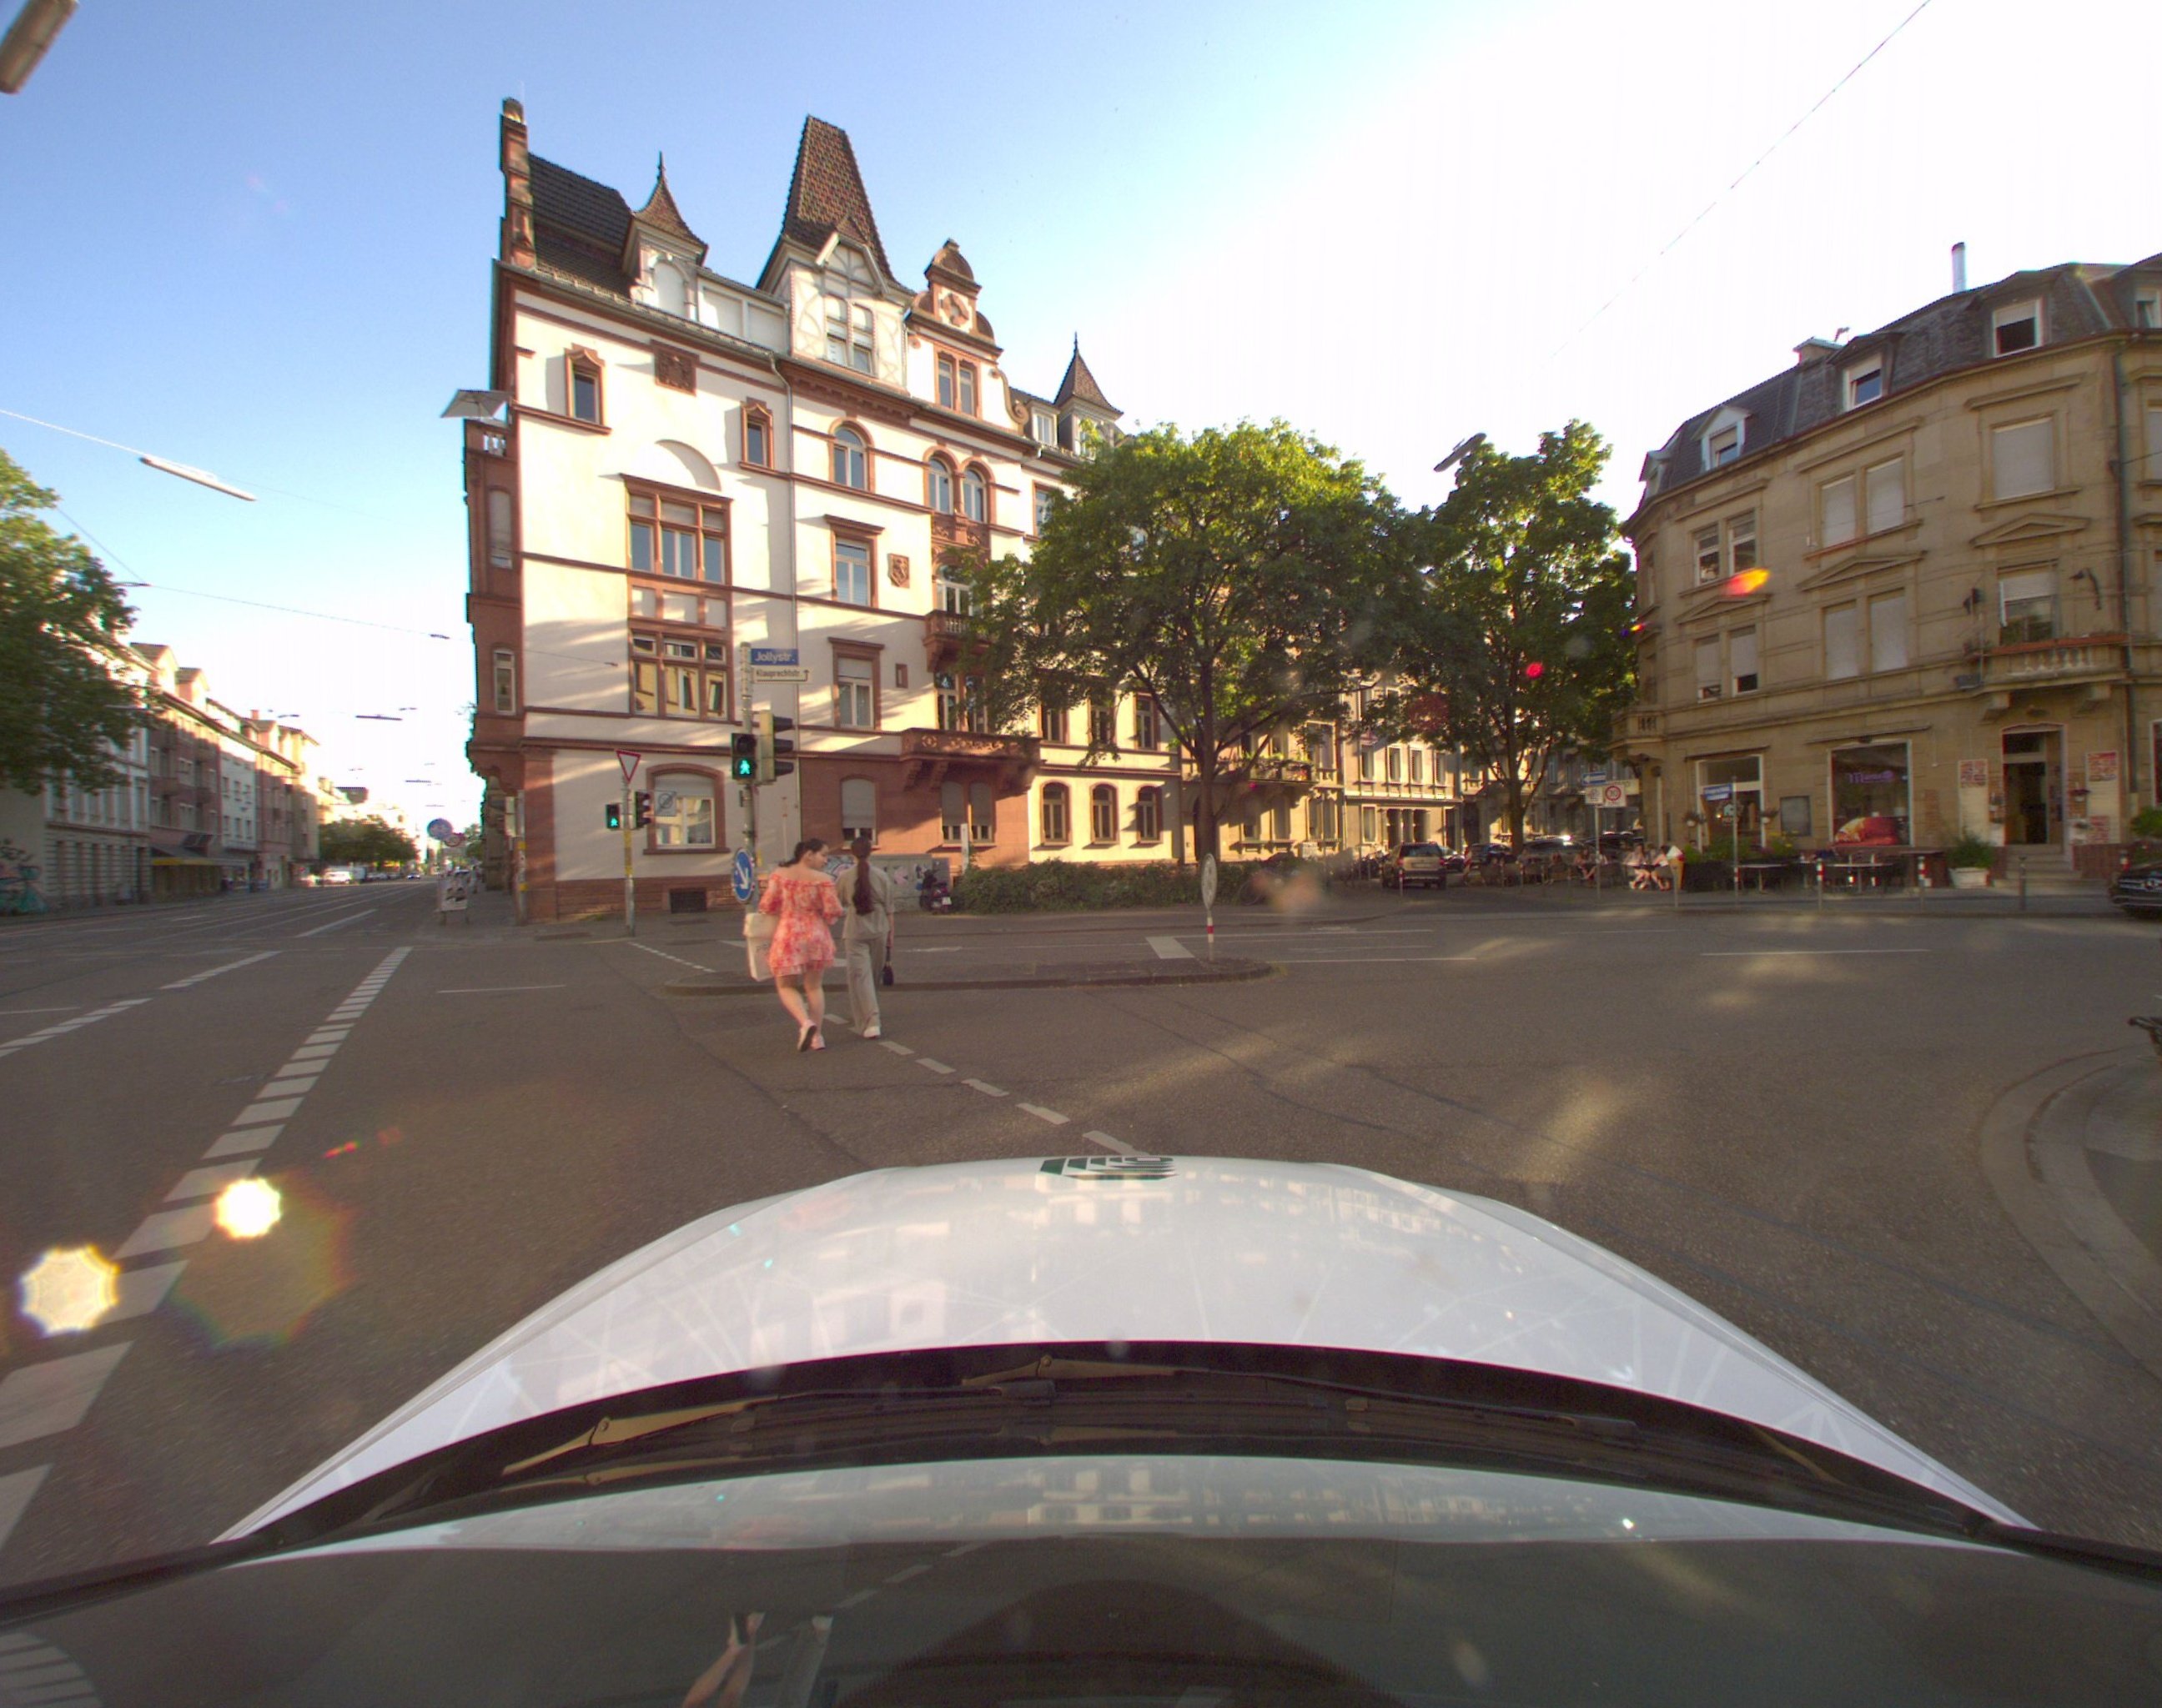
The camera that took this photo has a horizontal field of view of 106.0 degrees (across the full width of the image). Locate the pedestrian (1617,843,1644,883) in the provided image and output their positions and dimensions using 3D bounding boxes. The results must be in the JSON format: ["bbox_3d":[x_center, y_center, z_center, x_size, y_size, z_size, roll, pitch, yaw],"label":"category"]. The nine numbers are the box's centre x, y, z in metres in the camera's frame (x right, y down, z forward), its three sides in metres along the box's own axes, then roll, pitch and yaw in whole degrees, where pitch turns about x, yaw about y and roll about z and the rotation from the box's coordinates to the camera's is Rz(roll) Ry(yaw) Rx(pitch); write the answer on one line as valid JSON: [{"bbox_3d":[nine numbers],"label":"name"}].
[{"bbox_3d":[17.742,0.277,26.293,0.508,1.248,0.481,-3,0,-4],"label":"pedestrian"}]

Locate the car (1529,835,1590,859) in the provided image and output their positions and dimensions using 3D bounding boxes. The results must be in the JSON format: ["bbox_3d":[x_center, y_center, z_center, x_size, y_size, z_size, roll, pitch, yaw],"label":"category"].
[{"bbox_3d":[29.780,-0.425,50.706,3.768,1.376,1.908,-2,0,-36],"label":"car"}]

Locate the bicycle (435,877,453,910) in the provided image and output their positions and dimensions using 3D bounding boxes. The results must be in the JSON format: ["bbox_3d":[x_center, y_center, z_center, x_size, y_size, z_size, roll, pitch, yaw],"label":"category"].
[{"bbox_3d":[-24.734,1.509,31.621,0.522,1.214,1.985,-1,0,-38],"label":"bicycle"}]

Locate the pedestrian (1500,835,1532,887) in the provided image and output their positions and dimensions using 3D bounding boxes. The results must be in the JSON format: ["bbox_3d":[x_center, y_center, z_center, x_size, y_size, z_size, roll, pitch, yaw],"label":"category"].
[{"bbox_3d":[15.017,0.247,28.106,0.760,1.770,0.574,-3,-2,10],"label":"pedestrian"}]

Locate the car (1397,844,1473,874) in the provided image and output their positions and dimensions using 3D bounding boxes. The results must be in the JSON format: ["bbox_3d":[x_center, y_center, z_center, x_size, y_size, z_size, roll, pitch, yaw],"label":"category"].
[{"bbox_3d":[18.268,0.248,42.000,3.768,1.376,1.908,-2,0,-36],"label":"car"}]

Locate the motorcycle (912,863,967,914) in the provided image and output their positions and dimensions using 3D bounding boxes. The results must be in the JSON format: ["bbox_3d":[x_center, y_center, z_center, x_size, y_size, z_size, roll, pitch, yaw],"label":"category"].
[{"bbox_3d":[-3.802,0.882,21.755,0.845,1.265,2.092,-2,0,-26],"label":"motorcycle"}]

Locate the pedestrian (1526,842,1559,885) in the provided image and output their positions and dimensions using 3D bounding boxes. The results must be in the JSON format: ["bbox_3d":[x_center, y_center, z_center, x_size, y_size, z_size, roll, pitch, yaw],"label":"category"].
[{"bbox_3d":[15.944,0.344,28.137,0.760,1.442,0.670,-3,-2,11],"label":"pedestrian"}]

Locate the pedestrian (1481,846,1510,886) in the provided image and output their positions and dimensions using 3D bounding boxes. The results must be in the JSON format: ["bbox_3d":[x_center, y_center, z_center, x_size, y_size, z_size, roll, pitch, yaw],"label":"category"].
[{"bbox_3d":[15.005,0.429,29.495,0.759,1.412,0.670,-3,-2,12],"label":"pedestrian"}]

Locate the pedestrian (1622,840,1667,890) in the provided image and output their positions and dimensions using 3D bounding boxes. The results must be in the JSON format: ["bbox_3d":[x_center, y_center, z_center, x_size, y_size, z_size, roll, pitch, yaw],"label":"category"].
[{"bbox_3d":[16.372,0.306,23.677,0.726,1.411,0.753,-2,0,-13],"label":"pedestrian"}]

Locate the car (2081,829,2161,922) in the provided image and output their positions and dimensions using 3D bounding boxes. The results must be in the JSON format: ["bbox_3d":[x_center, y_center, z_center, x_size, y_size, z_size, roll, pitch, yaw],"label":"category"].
[{"bbox_3d":[19.364,0.285,13.149,4.109,1.488,1.765,-2,-1,2],"label":"car"}]

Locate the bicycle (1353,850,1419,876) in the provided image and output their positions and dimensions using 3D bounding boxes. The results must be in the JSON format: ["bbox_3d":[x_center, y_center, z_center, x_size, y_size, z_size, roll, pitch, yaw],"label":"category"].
[{"bbox_3d":[14.735,0.435,39.462,0.755,1.180,3.102,-2,0,-36],"label":"bicycle"}]

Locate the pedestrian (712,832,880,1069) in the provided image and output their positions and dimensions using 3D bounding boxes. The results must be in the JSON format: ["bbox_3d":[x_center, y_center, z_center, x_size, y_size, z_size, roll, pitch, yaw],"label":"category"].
[{"bbox_3d":[-2.271,0.691,6.484,0.972,1.697,0.875,-2,0,43],"label":"pedestrian"}]

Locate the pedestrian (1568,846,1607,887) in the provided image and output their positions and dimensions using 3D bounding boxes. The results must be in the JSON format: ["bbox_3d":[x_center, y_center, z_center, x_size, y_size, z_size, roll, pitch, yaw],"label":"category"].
[{"bbox_3d":[16.057,0.379,25.818,0.745,1.248,0.706,-3,0,-4],"label":"pedestrian"}]

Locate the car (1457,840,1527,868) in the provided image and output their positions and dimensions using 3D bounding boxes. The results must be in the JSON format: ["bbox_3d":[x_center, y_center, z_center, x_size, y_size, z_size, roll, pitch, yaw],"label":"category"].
[{"bbox_3d":[22.664,-0.010,44.906,3.768,1.376,1.908,-2,0,-36],"label":"car"}]

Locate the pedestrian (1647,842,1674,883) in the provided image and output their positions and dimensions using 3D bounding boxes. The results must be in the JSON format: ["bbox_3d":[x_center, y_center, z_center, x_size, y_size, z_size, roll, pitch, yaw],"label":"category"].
[{"bbox_3d":[17.937,0.269,25.208,0.431,1.248,0.481,-3,0,-4],"label":"pedestrian"}]

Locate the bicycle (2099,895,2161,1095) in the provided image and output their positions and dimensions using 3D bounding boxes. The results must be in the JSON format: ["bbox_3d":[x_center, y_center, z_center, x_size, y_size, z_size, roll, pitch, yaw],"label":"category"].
[{"bbox_3d":[6.700,0.760,4.358,1.458,1.094,0.427,-3,-3,28],"label":"bicycle"}]

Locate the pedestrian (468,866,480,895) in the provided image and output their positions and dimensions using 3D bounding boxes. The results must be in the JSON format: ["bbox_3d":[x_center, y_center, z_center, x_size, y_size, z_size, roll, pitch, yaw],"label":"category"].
[{"bbox_3d":[-38.101,1.658,51.113,0.495,1.811,0.621,-1,0,-32],"label":"pedestrian"}]

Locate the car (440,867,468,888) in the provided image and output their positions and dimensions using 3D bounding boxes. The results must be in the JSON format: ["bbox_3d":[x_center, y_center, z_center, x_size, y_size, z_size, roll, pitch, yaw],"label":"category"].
[{"bbox_3d":[-66.059,2.462,85.810,2.008,2.013,3.958,-2,0,-33],"label":"car"}]

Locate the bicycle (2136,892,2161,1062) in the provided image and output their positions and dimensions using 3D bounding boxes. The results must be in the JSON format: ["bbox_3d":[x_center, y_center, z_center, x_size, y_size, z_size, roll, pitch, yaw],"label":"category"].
[{"bbox_3d":[7.785,0.761,4.753,0.427,1.094,1.913,1,-4,-40],"label":"bicycle"}]

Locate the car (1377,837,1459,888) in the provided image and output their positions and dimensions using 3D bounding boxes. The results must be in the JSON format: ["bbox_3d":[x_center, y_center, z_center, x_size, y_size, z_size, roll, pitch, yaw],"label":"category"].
[{"bbox_3d":[12.208,0.270,29.762,1.981,1.684,4.012,-2,0,11],"label":"car"}]

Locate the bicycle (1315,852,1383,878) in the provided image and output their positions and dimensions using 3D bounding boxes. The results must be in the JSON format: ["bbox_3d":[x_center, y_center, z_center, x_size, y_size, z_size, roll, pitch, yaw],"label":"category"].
[{"bbox_3d":[12.397,0.521,37.840,0.755,1.180,3.102,-2,0,-36],"label":"bicycle"}]

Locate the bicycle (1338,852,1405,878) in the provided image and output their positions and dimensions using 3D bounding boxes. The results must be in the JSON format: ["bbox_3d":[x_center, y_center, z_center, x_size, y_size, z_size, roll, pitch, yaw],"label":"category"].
[{"bbox_3d":[13.786,0.522,38.817,0.755,1.180,3.102,-2,0,-36],"label":"bicycle"}]

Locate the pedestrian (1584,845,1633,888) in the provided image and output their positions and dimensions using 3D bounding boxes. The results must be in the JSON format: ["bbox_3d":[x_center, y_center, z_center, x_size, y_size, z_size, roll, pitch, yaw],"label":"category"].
[{"bbox_3d":[16.126,0.370,24.912,0.745,1.248,1.023,-3,0,-4],"label":"pedestrian"}]

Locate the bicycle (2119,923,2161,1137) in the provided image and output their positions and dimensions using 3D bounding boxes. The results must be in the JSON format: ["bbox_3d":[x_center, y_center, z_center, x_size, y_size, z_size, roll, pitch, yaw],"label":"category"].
[{"bbox_3d":[5.852,0.883,3.852,0.739,1.027,0.992,-2,0,-23],"label":"bicycle"}]

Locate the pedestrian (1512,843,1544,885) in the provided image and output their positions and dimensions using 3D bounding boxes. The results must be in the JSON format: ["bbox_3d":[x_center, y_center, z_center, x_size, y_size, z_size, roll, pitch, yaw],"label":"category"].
[{"bbox_3d":[16.002,0.352,29.171,0.760,1.442,0.670,-3,-2,11],"label":"pedestrian"}]

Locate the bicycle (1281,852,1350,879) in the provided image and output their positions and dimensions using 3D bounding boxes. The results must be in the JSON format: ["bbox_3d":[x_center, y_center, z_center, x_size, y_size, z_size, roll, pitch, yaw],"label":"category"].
[{"bbox_3d":[10.439,0.523,36.375,0.755,1.180,3.102,-2,0,-36],"label":"bicycle"}]

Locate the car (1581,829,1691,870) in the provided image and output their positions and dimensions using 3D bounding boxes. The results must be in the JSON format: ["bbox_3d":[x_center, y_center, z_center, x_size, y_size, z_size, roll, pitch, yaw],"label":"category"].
[{"bbox_3d":[24.898,-0.195,36.573,3.948,1.684,2.013,-2,0,37],"label":"car"}]

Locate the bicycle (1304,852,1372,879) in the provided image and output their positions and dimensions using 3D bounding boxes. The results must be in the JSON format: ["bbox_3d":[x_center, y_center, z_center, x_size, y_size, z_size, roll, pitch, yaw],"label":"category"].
[{"bbox_3d":[11.750,0.521,37.343,0.755,1.180,3.102,-2,0,-36],"label":"bicycle"}]

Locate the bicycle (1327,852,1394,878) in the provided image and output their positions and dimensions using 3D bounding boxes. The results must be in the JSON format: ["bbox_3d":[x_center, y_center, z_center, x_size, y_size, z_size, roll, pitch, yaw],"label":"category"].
[{"bbox_3d":[13.108,0.521,38.303,0.755,1.180,3.102,-2,0,-36],"label":"bicycle"}]

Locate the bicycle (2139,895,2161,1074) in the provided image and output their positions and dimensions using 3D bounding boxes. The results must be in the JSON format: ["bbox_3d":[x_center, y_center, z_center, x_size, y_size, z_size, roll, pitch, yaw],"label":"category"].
[{"bbox_3d":[7.460,0.768,4.486,0.427,1.094,1.913,1,-4,-40],"label":"bicycle"}]

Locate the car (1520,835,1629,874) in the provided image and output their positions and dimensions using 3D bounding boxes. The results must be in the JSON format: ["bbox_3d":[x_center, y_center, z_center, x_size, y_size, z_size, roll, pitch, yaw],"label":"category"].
[{"bbox_3d":[21.240,0.031,35.233,3.790,1.562,1.813,-2,0,23],"label":"car"}]

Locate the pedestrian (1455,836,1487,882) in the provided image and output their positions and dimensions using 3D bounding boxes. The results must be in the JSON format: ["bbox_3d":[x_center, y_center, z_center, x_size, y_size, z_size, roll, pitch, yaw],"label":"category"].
[{"bbox_3d":[14.633,0.203,30.560,0.763,1.670,0.667,-2,-2,-3],"label":"pedestrian"}]

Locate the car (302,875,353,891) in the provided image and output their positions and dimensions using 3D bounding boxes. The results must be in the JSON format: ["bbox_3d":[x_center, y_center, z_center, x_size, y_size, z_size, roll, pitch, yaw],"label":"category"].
[{"bbox_3d":[-103.965,4.014,112.464,4.776,2.013,2.499,-2,0,-35],"label":"car"}]

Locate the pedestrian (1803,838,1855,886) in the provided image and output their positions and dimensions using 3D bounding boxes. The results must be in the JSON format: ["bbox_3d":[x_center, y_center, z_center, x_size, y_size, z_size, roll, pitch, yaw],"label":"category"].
[{"bbox_3d":[19.824,0.209,21.594,0.757,1.214,0.722,-2,0,-21],"label":"pedestrian"}]

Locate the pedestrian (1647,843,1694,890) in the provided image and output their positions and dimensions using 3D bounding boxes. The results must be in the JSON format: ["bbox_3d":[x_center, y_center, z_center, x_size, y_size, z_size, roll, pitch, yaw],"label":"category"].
[{"bbox_3d":[16.549,0.349,22.862,0.741,1.289,0.742,-2,0,-12],"label":"pedestrian"}]

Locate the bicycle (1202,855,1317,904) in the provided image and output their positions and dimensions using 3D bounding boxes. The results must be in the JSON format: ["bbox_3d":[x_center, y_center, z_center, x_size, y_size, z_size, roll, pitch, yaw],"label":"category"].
[{"bbox_3d":[4.765,0.681,21.836,2.937,1.196,0.548,-2,0,2],"label":"bicycle"}]

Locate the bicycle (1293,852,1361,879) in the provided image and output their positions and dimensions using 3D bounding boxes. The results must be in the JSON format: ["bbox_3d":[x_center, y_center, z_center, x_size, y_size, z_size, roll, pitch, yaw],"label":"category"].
[{"bbox_3d":[11.084,0.520,36.838,0.755,1.180,3.102,-2,0,-36],"label":"bicycle"}]

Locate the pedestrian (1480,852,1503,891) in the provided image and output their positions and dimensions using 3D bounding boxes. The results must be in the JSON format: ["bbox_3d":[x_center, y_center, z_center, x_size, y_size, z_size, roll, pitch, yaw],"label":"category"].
[{"bbox_3d":[14.507,0.618,28.793,0.567,1.320,0.506,-3,0,9],"label":"pedestrian"}]

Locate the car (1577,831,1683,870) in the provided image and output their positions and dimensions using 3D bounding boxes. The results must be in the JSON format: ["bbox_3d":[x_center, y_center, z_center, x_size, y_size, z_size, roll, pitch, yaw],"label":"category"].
[{"bbox_3d":[26.168,-0.163,38.992,3.949,1.684,2.012,-2,0,28],"label":"car"}]

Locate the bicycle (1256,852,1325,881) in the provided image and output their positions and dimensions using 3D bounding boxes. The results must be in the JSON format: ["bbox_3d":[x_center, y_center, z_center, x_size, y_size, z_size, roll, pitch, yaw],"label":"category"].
[{"bbox_3d":[9.071,0.565,35.361,0.755,1.180,3.102,-2,0,-36],"label":"bicycle"}]

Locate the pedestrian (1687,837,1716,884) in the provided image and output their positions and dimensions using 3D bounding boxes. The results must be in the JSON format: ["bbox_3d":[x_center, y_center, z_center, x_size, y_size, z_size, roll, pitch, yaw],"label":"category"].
[{"bbox_3d":[18.379,0.197,24.133,0.432,1.367,0.480,-2,0,-10],"label":"pedestrian"}]

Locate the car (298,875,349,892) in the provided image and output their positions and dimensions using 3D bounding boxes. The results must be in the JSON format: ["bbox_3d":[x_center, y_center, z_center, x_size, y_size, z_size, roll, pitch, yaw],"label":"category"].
[{"bbox_3d":[-102.552,3.987,110.327,4.776,2.013,2.266,-2,0,-35],"label":"car"}]

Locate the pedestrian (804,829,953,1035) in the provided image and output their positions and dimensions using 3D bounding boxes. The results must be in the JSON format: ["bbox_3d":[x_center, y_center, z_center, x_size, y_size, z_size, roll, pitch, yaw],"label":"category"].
[{"bbox_3d":[-1.836,0.645,7.377,0.972,1.697,0.875,-2,0,43],"label":"pedestrian"}]

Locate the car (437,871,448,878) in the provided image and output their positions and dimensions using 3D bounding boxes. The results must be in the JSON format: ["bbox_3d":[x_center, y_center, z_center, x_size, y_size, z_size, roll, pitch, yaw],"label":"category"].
[{"bbox_3d":[-157.131,5.113,200.429,2.010,1.692,3.954,-2,0,-39],"label":"car"}]

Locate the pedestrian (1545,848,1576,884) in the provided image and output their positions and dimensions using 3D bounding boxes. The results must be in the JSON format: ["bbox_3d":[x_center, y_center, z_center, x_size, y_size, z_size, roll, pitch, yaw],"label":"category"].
[{"bbox_3d":[16.758,0.429,28.489,0.671,1.216,0.670,-3,-2,9],"label":"pedestrian"}]

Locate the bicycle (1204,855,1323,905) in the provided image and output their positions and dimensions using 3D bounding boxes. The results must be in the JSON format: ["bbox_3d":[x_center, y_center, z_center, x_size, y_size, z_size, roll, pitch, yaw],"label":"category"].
[{"bbox_3d":[4.738,0.671,21.241,2.937,1.196,0.548,-2,0,2],"label":"bicycle"}]

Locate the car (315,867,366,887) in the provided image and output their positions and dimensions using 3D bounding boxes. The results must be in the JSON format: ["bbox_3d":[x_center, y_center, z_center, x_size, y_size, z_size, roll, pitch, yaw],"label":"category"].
[{"bbox_3d":[-106.929,3.350,117.690,2.494,2.685,4.785,-2,0,27],"label":"car"}]
